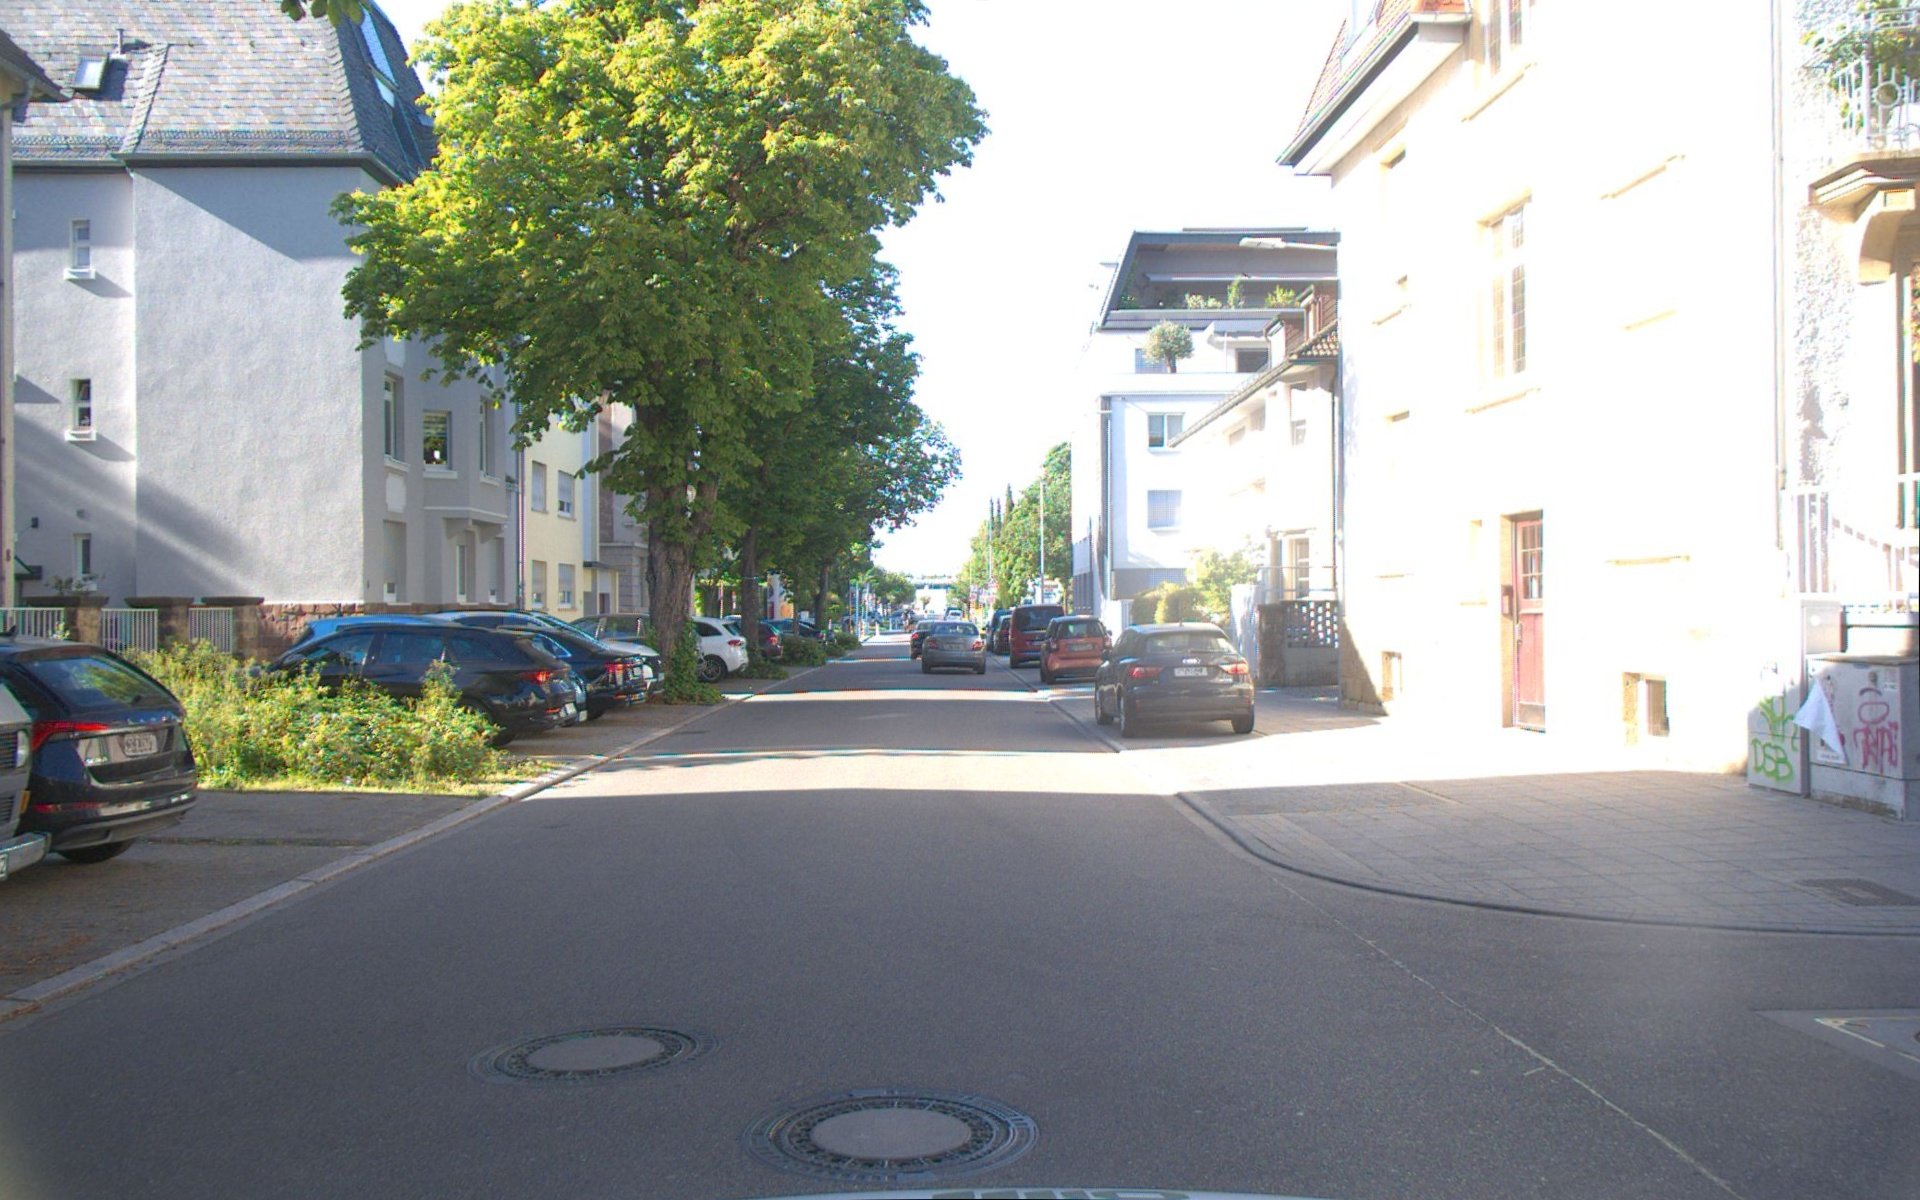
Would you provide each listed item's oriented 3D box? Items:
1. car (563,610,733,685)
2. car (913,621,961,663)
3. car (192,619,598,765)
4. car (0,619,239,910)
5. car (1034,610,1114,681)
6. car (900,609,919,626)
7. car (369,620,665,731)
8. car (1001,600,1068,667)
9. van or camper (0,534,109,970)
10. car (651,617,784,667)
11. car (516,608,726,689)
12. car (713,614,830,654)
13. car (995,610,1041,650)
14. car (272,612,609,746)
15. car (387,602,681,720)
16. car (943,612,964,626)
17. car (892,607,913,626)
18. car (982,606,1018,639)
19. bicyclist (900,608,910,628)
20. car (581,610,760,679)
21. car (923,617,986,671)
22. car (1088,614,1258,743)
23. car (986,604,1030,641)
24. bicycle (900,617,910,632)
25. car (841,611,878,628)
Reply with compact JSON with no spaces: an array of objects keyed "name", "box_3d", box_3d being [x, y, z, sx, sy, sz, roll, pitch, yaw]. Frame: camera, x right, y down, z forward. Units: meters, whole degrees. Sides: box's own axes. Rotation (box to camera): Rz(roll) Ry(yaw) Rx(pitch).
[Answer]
[{"name":"car","box_3d":[-6.994,1.048,37.299,3.442,1.603,1.771,1,0,2]},{"name":"car","box_3d":[-0.868,1.563,61.499,1.672,1.473,4.201,1,-1,-1]},{"name":"car","box_3d":[-6.484,1.031,19.352,4.102,1.525,1.860,-1,0,-2]},{"name":"car","box_3d":[-6.608,0.887,9.858,3.864,1.524,1.662,1,1,1]},{"name":"car","box_3d":[2.658,1.045,39.076,1.560,1.506,3.246,-3,0,-1]},{"name":"car","box_3d":[-5.640,1.921,183.649,1.753,1.559,3.995,-5,-2,-5]},{"name":"car","box_3d":[-6.478,1.093,24.495,3.906,1.494,1.696,-1,0,-2]},{"name":"car","box_3d":[2.264,1.027,51.639,1.833,1.938,5.197,-2,-1,0]},{"name":"van or camper","box_3d":[-6.502,0.702,7.345,4.406,1.948,1.963,-1,-1,-1]},{"name":"car","box_3d":[-7.580,1.301,51.963,3.906,1.446,1.770,1,1,-2]},{"name":"car","box_3d":[-7.025,0.988,34.526,3.904,1.603,1.981,1,0,2]},{"name":"car","box_3d":[-7.330,1.335,64.525,4.384,1.505,1.867,0,-1,-3]},{"name":"car","box_3d":[2.358,1.204,68.169,1.701,1.558,4.177,-1,0,-1]},{"name":"car","box_3d":[-6.840,1.016,22.115,3.907,1.620,1.877,-1,0,-3]},{"name":"car","box_3d":[-6.931,0.973,27.243,4.296,1.681,1.823,-2,1,0]},{"name":"car","box_3d":[-0.658,1.868,163.077,1.689,1.353,3.995,-1,0,-5]},{"name":"car","box_3d":[-5.631,1.611,160.783,1.836,1.758,3.995,-1,0,-5]},{"name":"car","box_3d":[1.868,1.082,78.353,1.532,1.435,3.729,-5,-1,0]},{"name":"bicyclist","box_3d":[-4.330,1.403,130.043,0.706,1.564,1.137,-1,-1,-1]},{"name":"car","box_3d":[-6.861,1.045,39.494,3.941,1.511,1.806,1,0,-2]},{"name":"car","box_3d":[-0.138,1.230,46.596,1.691,1.445,3.960,1,-1,0]},{"name":"car","box_3d":[2.802,0.992,22.545,1.587,1.465,3.933,-3,0,-2]},{"name":"car","box_3d":[2.124,1.016,74.146,1.648,1.460,4.264,-5,-1,-1]},{"name":"bicycle","box_3d":[-4.316,1.915,129.994,0.705,1.098,1.890,-1,0,0]},{"name":"car","box_3d":[-9.432,1.814,155.246,3.428,1.560,1.642,-1,0,-8]}]
